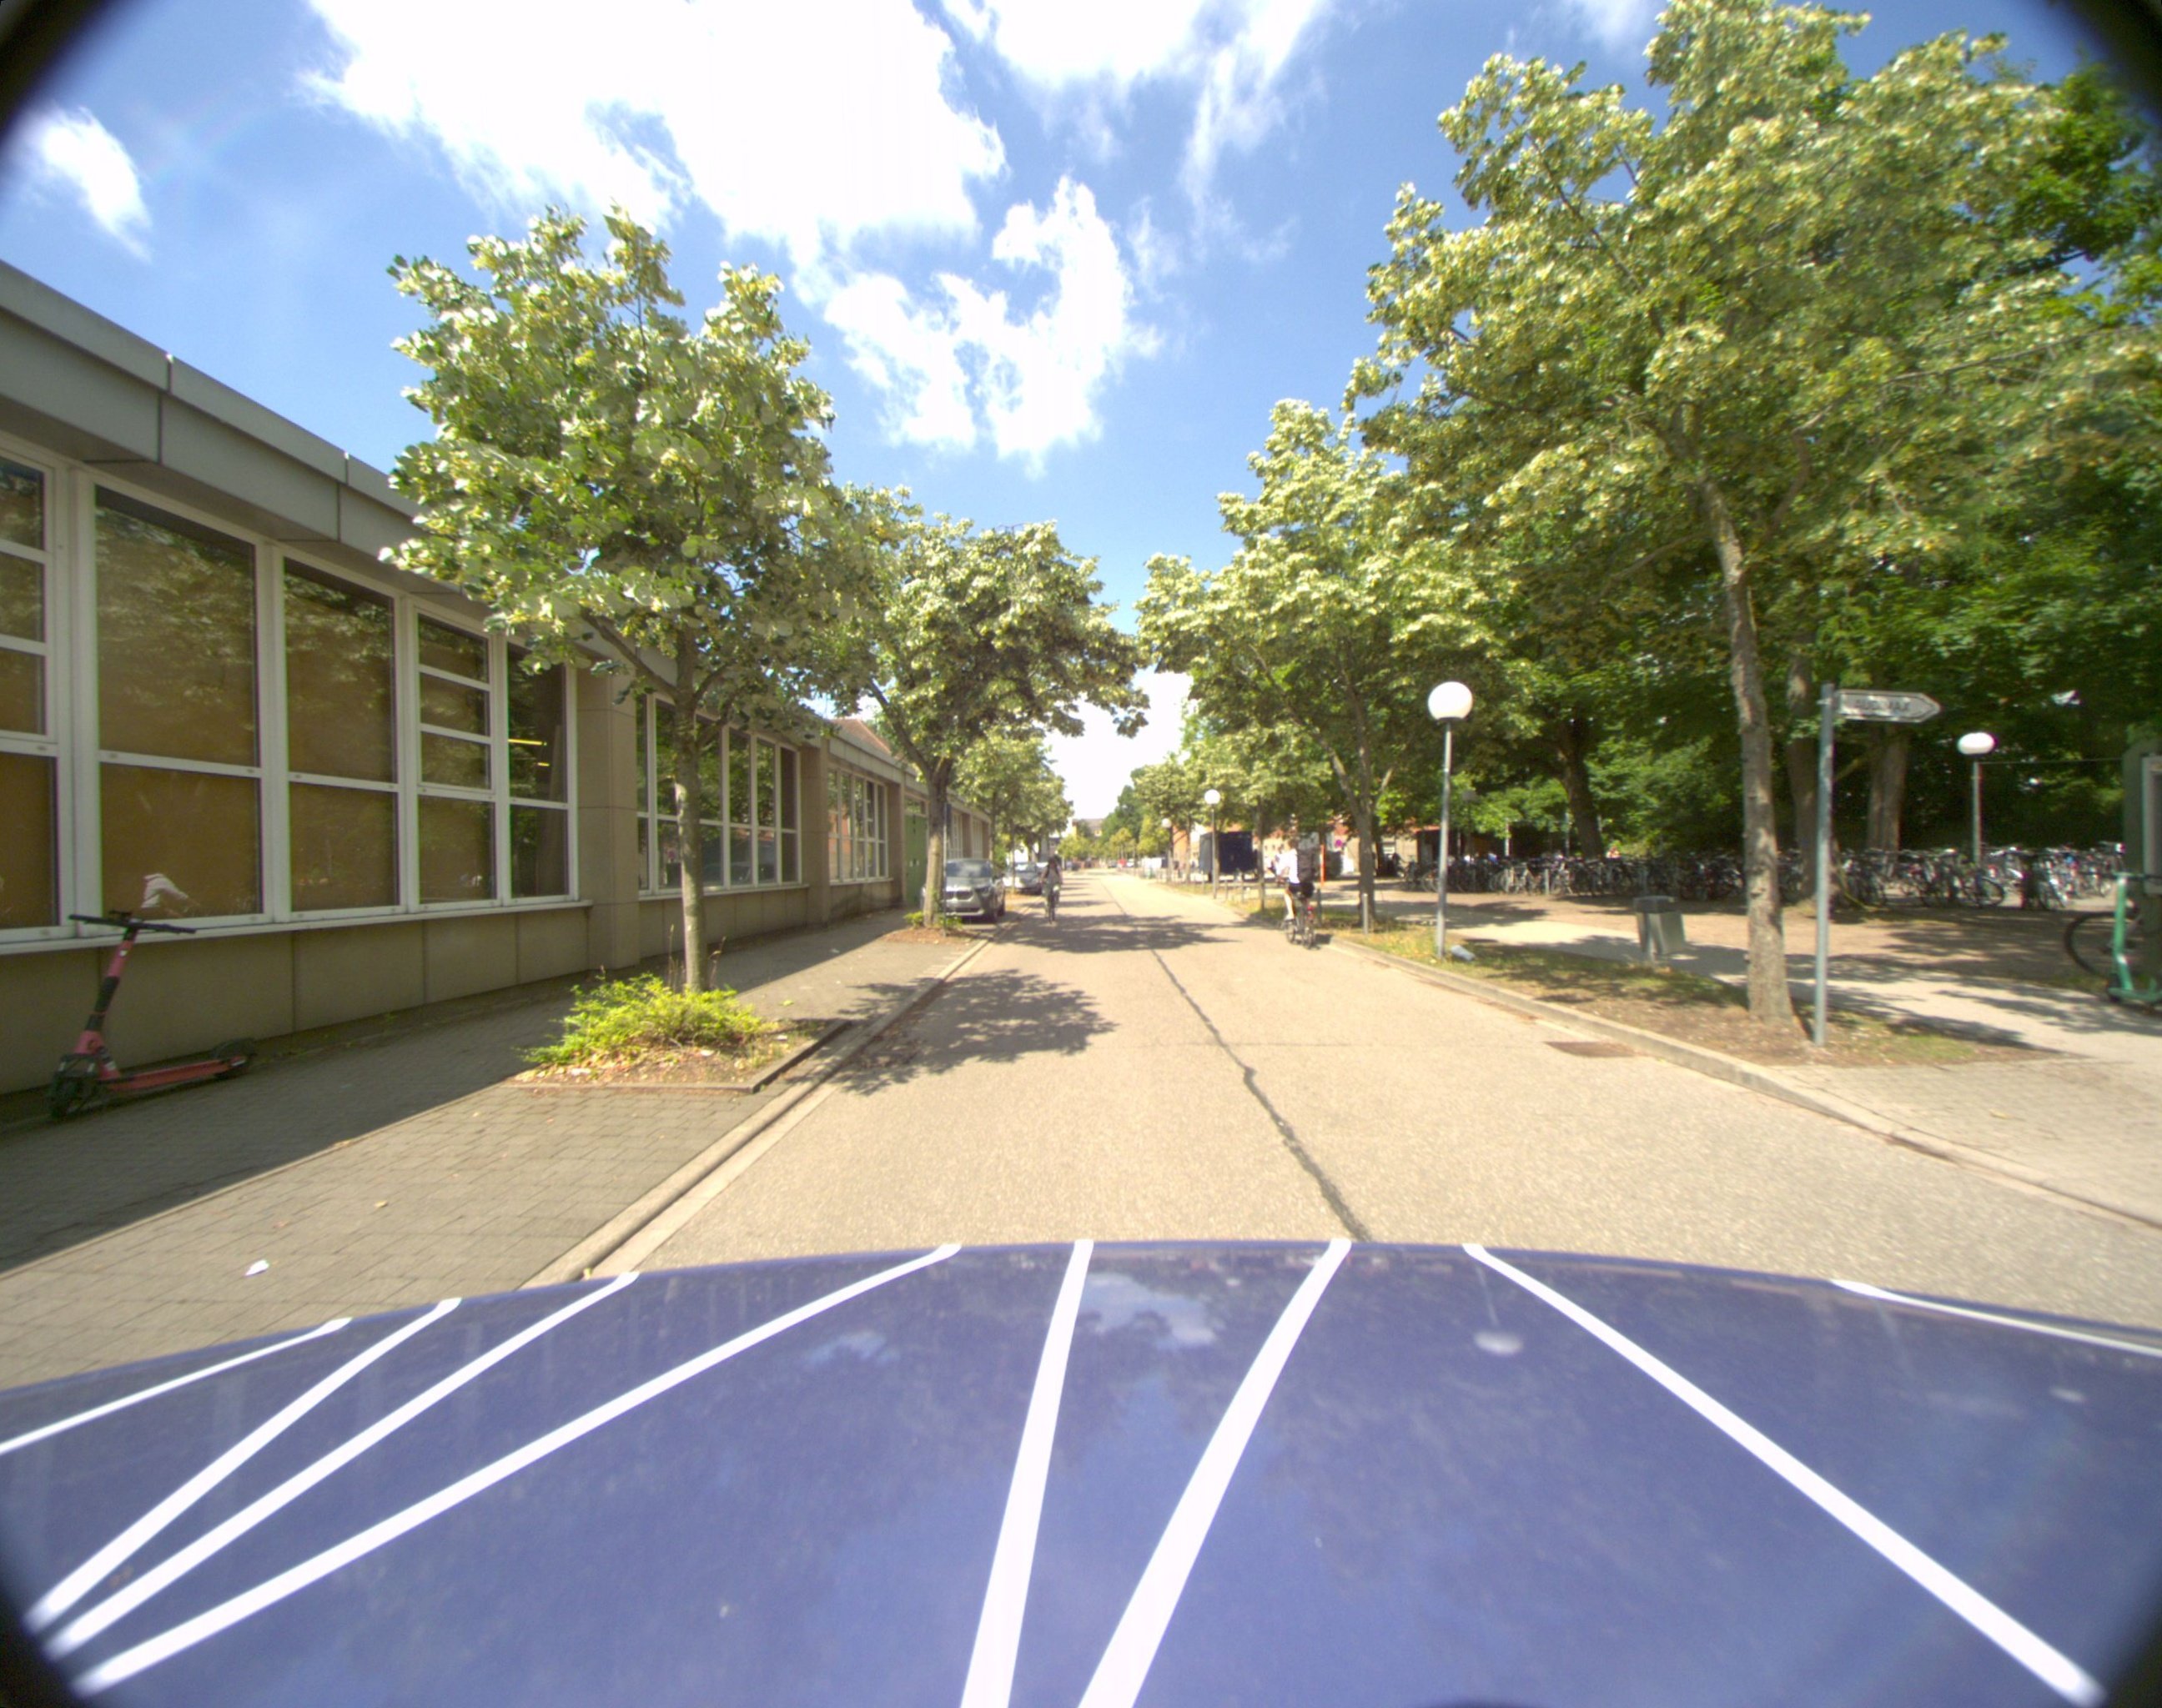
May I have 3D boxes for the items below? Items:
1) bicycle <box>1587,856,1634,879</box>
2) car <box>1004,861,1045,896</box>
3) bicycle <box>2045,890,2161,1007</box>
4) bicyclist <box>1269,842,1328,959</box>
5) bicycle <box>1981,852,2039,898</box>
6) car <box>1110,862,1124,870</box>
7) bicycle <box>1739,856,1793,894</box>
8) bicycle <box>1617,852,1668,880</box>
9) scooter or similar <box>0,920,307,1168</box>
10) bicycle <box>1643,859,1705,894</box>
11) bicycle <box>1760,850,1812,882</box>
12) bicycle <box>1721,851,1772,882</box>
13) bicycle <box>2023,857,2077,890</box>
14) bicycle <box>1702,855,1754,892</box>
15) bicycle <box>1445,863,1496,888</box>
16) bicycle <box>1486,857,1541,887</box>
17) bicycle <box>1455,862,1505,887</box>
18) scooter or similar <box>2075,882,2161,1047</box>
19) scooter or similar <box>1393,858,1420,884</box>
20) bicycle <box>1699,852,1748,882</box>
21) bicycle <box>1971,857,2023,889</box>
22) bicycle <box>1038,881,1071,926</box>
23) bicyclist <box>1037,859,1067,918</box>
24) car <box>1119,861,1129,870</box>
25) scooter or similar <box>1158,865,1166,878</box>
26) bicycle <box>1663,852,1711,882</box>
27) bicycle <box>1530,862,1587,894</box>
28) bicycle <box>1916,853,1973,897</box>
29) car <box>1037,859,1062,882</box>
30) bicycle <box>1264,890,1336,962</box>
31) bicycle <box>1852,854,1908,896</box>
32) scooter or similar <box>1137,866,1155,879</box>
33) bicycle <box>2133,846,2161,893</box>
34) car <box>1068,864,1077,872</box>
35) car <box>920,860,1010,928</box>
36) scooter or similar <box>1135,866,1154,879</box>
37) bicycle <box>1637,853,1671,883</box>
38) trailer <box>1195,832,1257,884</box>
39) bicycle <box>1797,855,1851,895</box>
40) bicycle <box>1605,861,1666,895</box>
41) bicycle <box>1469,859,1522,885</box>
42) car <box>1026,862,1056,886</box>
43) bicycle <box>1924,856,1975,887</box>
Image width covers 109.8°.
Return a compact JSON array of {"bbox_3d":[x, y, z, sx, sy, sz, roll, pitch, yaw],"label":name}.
[{"bbox_3d":[23.125,0.566,33.203,1.885,0.937,0.546,-2,1,-12],"label":"bicycle"},{"bbox_3d":[-2.652,1.121,36.345,1.708,1.564,4.140,0,0,-1],"label":"car"},{"bbox_3d":[9.937,0.861,6.686,0.383,1.019,1.813,-1,0,-12],"label":"bicycle"},{"bbox_3d":[3.849,0.807,13.502,0.713,2.002,1.019,0,0,-2],"label":"bicyclist"},{"bbox_3d":[23.451,0.523,19.168,1.970,1.083,0.546,-2,0,-28],"label":"bicycle"},{"bbox_3d":[9.088,3.023,191.075,2.022,2.079,4.440,-1,-1,22],"label":"car"},{"bbox_3d":[20.538,0.619,22.776,1.970,1.083,0.546,-2,0,-28],"label":"bicycle"},{"bbox_3d":[23.736,0.503,32.111,1.959,1.085,0.596,-2,1,-12],"label":"bicycle"},{"bbox_3d":[-6.027,1.106,4.915,0.512,1.242,1.486,0,0,1],"label":"scooter or similar"},{"bbox_3d":[19.496,0.734,24.981,1.968,1.083,0.546,-2,0,-16],"label":"bicycle"},{"bbox_3d":[25.609,0.418,27.599,1.960,1.085,0.596,-2,1,-22],"label":"bicycle"},{"bbox_3d":[25.001,0.464,28.540,1.960,1.085,0.596,-2,1,-22],"label":"bicycle"},{"bbox_3d":[28.502,0.572,22.355,1.769,0.888,0.418,-2,0,-19],"label":"bicycle"},{"bbox_3d":[20.557,0.605,24.138,1.970,1.083,0.546,-2,0,-28],"label":"bicycle"},{"bbox_3d":[16.260,0.898,31.724,1.807,1.008,0.537,-2,0,3],"label":"bicycle"},{"bbox_3d":[17.100,0.692,30.055,1.967,1.119,0.537,-2,0,-10],"label":"bicycle"},{"bbox_3d":[16.941,0.864,32.268,1.807,1.008,0.538,-2,0,3],"label":"bicycle"},{"bbox_3d":[8.522,0.835,6.056,0.339,1.169,1.331,-2,0,36],"label":"scooter or similar"},{"bbox_3d":[15.641,0.812,36.526,0.700,1.239,1.242,-2,0,1],"label":"scooter or similar"},{"bbox_3d":[24.784,0.487,29.319,1.960,1.085,0.596,-2,1,-22],"label":"bicycle"},{"bbox_3d":[28.022,0.570,23.243,1.769,0.888,0.418,-2,0,-19],"label":"bicycle"},{"bbox_3d":[-0.683,1.284,20.131,0.675,1.066,2.137,-1,0,2],"label":"bicycle"},{"bbox_3d":[-0.743,0.883,19.746,0.675,1.470,1.063,-1,1,2],"label":"bicyclist"},{"bbox_3d":[9.258,2.579,164.587,1.912,1.870,4.003,-1,-1,7],"label":"car"},{"bbox_3d":[7.173,1.556,67.521,0.564,1.142,1.351,-1,0,13],"label":"scooter or similar"},{"bbox_3d":[24.084,0.504,30.193,1.960,1.085,0.596,-2,1,-22],"label":"bicycle"},{"bbox_3d":[17.404,0.860,27.696,1.968,1.083,0.546,-2,0,-16],"label":"bicycle"},{"bbox_3d":[22.765,0.531,20.020,1.970,1.083,0.546,-2,0,-28],"label":"bicycle"},{"bbox_3d":[-2.281,1.204,56.077,1.650,1.383,3.987,-3,2,0],"label":"car"},{"bbox_3d":[3.869,1.242,13.577,0.687,1.123,1.888,-1,0,-1],"label":"bicycle"},{"bbox_3d":[22.046,0.557,20.967,1.970,1.083,0.546,-2,0,-28],"label":"bicycle"},{"bbox_3d":[6.022,1.734,70.189,1.571,1.217,0.571,-1,0,28],"label":"scooter or similar"},{"bbox_3d":[29.228,0.402,20.481,1.798,1.199,0.423,-2,0,-16],"label":"bicycle"},{"bbox_3d":[-1.547,2.427,135.715,1.552,1.377,3.454,-1,-1,-1],"label":"car"},{"bbox_3d":[-3.005,0.985,20.594,1.827,1.654,4.584,0,0,-1],"label":"car"},{"bbox_3d":[5.712,1.658,68.271,1.571,1.217,0.525,-1,0,28],"label":"scooter or similar"},{"bbox_3d":[22.935,0.547,30.387,1.962,1.085,0.595,-2,1,-38],"label":"bicycle"},{"bbox_3d":[9.012,0.274,47.925,2.703,3.008,6.267,-2,0,1],"label":"trailer"},{"bbox_3d":[21.684,0.595,22.172,1.970,1.083,0.546,-2,0,-28],"label":"bicycle"},{"bbox_3d":[18.845,0.806,25.810,1.968,1.083,0.546,-2,0,-16],"label":"bicycle"},{"bbox_3d":[17.002,0.749,31.146,1.967,0.997,0.537,-2,0,-10],"label":"bicycle"},{"bbox_3d":[-2.480,1.222,47.873,1.730,1.458,4.672,0,-1,-1],"label":"car"},{"bbox_3d":[27.539,0.546,24.094,1.769,0.888,0.418,-2,0,-19],"label":"bicycle"}]
